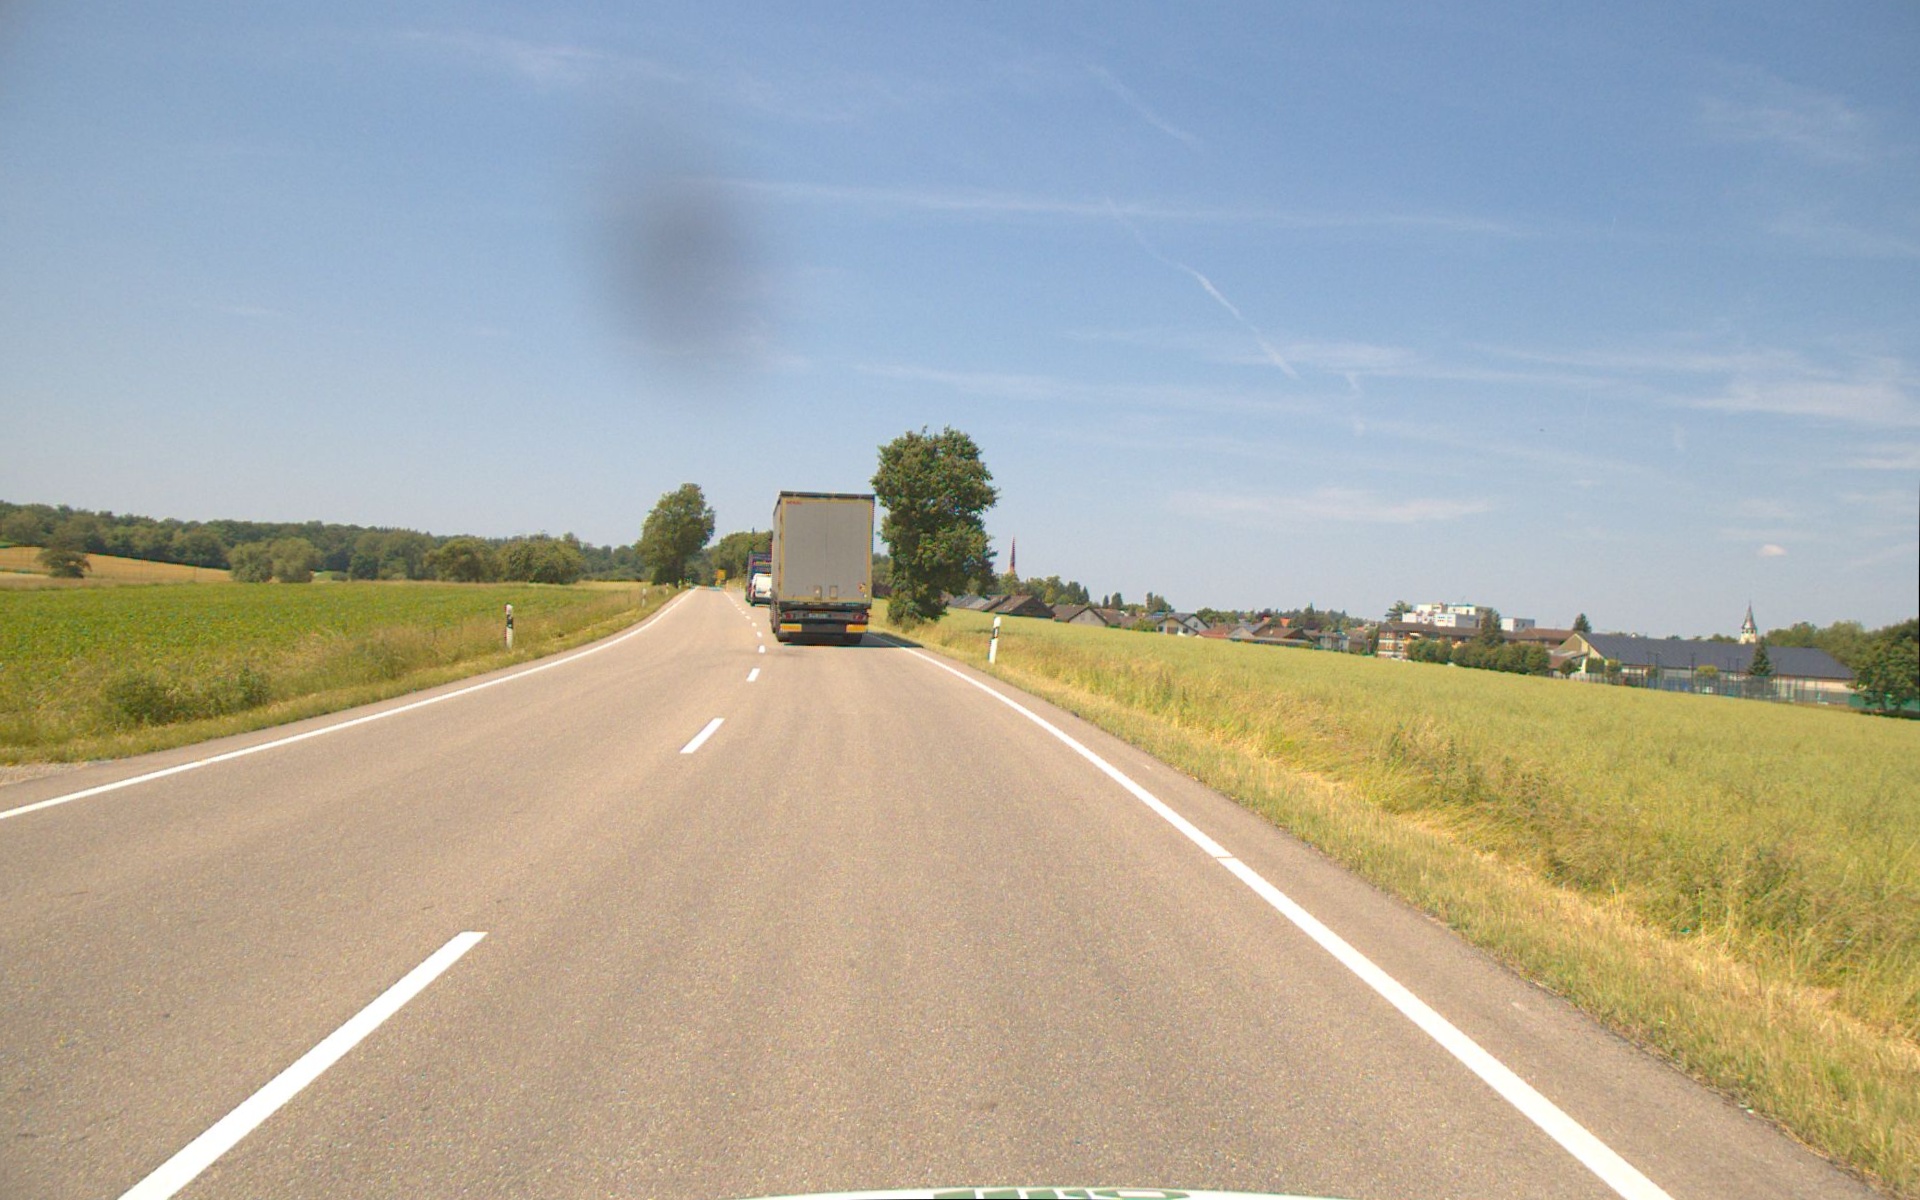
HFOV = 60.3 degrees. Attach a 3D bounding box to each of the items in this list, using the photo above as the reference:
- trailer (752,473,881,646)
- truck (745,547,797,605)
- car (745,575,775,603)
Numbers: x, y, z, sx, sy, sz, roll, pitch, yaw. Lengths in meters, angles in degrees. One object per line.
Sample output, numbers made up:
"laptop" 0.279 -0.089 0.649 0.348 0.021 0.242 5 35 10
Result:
"trailer" -4.593 -1.137 50.118 2.814 4.477 13.464 1 0 -9
"truck" -15.795 -1.960 139.625 3.479 4.469 18.105 2 0 -4
"car" -13.936 -0.757 115.442 1.690 1.905 3.999 1 0 -1
